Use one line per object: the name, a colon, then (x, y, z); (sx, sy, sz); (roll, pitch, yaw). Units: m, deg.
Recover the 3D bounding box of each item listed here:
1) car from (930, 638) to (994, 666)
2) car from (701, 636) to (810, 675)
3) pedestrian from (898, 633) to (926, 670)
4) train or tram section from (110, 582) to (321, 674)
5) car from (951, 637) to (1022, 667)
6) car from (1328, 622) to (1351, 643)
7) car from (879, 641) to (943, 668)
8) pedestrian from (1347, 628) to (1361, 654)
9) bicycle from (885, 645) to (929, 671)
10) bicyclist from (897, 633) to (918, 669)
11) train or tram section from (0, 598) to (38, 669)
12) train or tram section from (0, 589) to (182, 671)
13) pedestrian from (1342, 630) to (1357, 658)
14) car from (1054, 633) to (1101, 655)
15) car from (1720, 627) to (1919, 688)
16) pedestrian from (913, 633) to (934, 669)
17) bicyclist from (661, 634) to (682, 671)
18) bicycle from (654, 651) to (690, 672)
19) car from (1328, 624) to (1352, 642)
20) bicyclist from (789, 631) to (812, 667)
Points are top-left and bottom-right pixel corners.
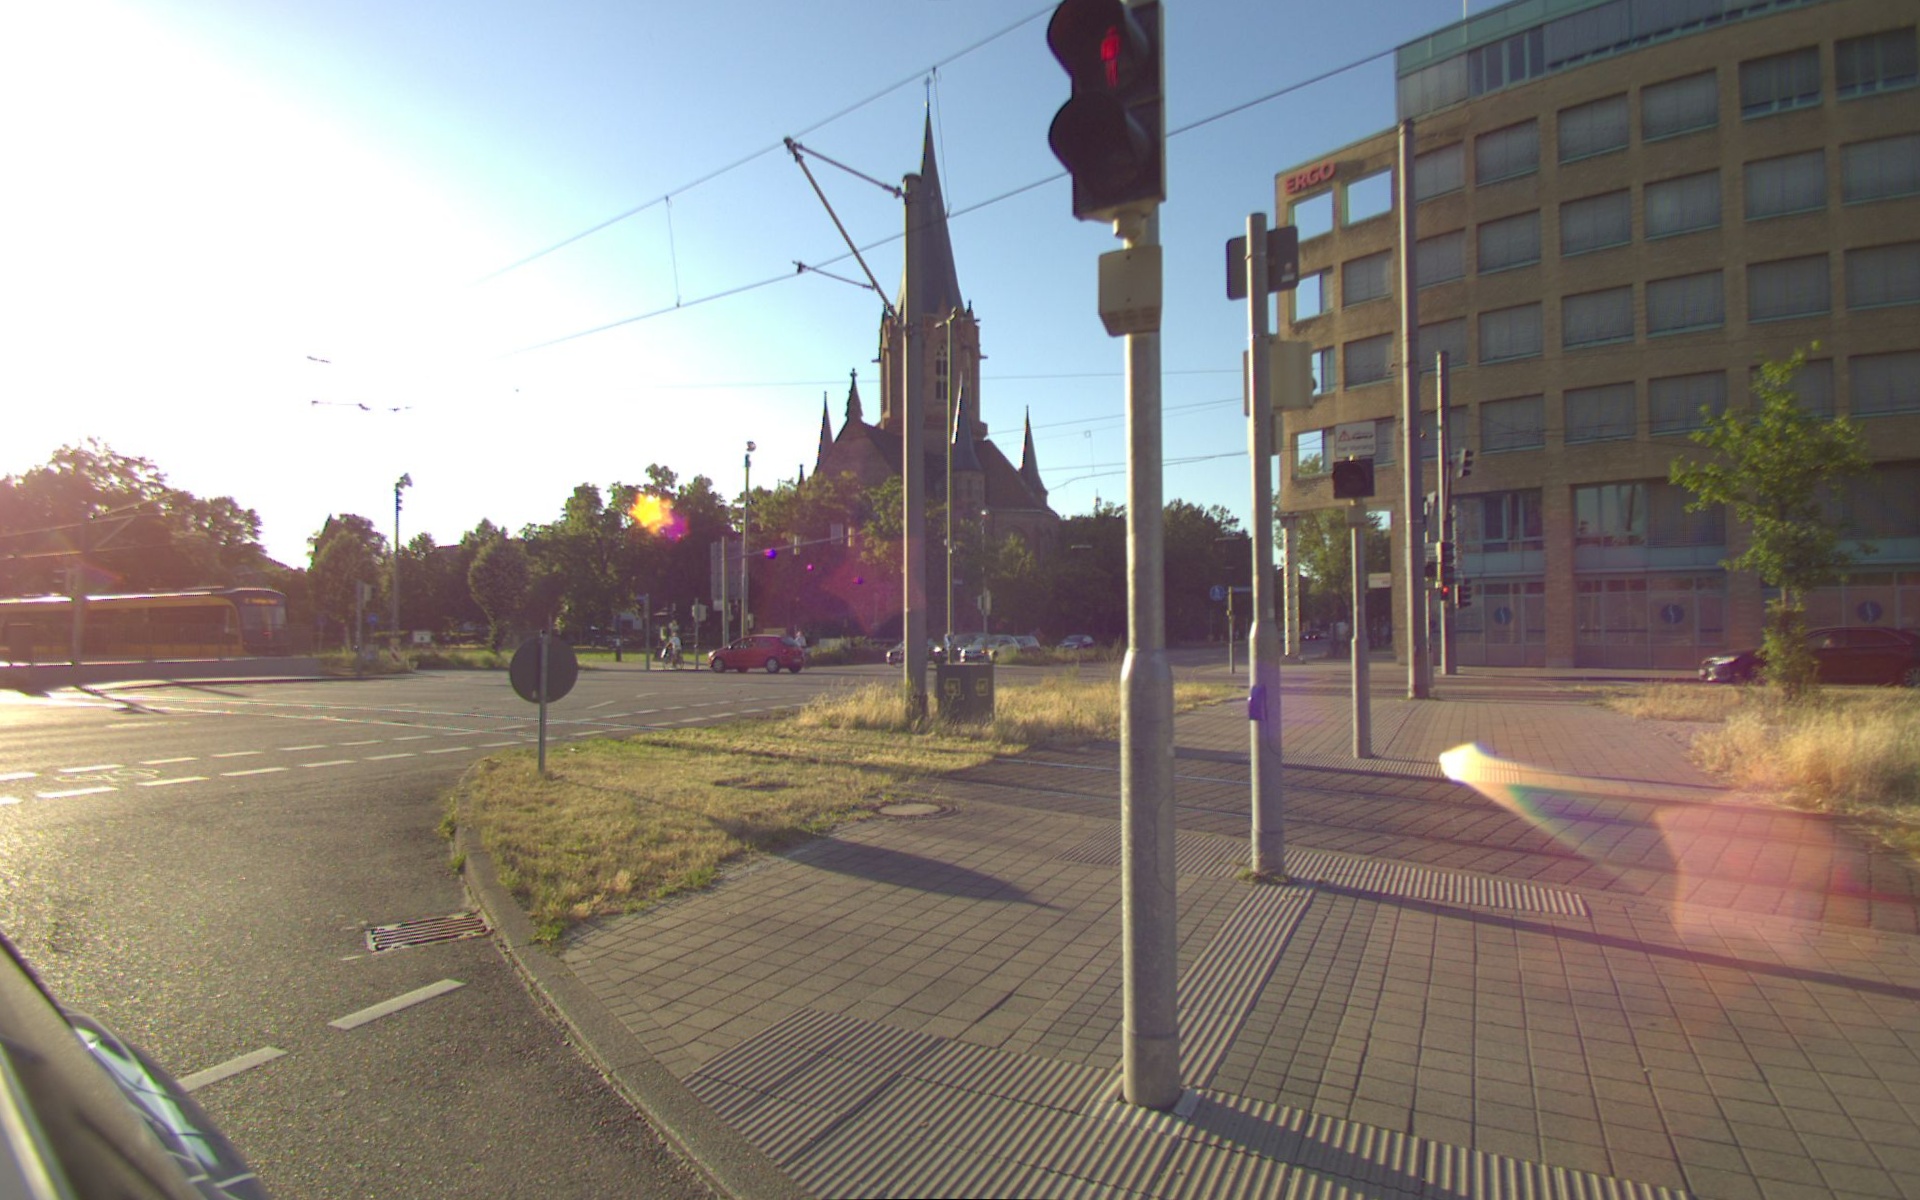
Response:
car: (0.132, 2.779, 54.733); (1.893, 1.431, 3.963); (-2, -2, 27)
car: (-7.877, 2.138, 39.003); (3.860, 1.425, 1.717); (-2, -2, 22)
pedestrian: (-2.227, 2.391, 47.048); (1.101, 1.685, 0.731); (-2, -2, 30)
train or tram section: (-31.646, 1.246, 42.869); (10.515, 3.563, 2.757); (-2, -2, 27)
car: (1.366, 2.596, 50.831); (1.895, 1.431, 3.959); (-2, -2, 30)
car: (44.275, 3.764, 117.975); (1.990, 2.361, 3.962); (-2, -2, 27)
car: (-2.670, 2.994, 56.213); (1.893, 1.431, 3.963); (-2, -2, 27)
pedestrian: (23.924, 2.491, 61.468); (0.579, 1.567, 0.737); (-2, -3, 33)
bicycle: (-2.399, 2.635, 45.915); (1.901, 1.155, 0.457); (-2, -1, 14)
bicyclist: (-2.368, 2.332, 45.910); (0.813, 1.595, 0.519); (-2, -1, 14)
train or tram section: (-54.115, 1.836, 53.991); (13.182, 3.563, 2.757); (-2, -2, 27)
train or tram section: (-42.225, 1.500, 48.223); (13.182, 3.563, 2.757); (-2, -2, 27)
pedestrian: (22.071, 2.499, 57.350); (0.579, 1.567, 0.737); (-2, -3, 33)
car: (8.004, 2.939, 68.619); (1.893, 1.431, 3.963); (-2, -2, 27)
car: (19.809, 1.294, 22.999); (3.770, 1.292, 1.714); (-2, -2, 27)
pedestrian: (-1.717, 2.386, 47.707); (0.714, 1.685, 0.731); (-2, -2, 30)
bicyclist: (-14.897, 2.708, 52.234); (0.890, 1.841, 0.570); (-2, -1, 27)
bicycle: (-14.854, 3.187, 52.208); (1.920, 1.034, 0.520); (-2, -1, 27)
car: (44.459, 3.885, 118.346); (2.221, 2.029, 4.560); (-2, -2, 26)
bicyclist: (-7.516, 2.308, 47.608); (0.890, 1.693, 0.570); (-2, -1, 26)
